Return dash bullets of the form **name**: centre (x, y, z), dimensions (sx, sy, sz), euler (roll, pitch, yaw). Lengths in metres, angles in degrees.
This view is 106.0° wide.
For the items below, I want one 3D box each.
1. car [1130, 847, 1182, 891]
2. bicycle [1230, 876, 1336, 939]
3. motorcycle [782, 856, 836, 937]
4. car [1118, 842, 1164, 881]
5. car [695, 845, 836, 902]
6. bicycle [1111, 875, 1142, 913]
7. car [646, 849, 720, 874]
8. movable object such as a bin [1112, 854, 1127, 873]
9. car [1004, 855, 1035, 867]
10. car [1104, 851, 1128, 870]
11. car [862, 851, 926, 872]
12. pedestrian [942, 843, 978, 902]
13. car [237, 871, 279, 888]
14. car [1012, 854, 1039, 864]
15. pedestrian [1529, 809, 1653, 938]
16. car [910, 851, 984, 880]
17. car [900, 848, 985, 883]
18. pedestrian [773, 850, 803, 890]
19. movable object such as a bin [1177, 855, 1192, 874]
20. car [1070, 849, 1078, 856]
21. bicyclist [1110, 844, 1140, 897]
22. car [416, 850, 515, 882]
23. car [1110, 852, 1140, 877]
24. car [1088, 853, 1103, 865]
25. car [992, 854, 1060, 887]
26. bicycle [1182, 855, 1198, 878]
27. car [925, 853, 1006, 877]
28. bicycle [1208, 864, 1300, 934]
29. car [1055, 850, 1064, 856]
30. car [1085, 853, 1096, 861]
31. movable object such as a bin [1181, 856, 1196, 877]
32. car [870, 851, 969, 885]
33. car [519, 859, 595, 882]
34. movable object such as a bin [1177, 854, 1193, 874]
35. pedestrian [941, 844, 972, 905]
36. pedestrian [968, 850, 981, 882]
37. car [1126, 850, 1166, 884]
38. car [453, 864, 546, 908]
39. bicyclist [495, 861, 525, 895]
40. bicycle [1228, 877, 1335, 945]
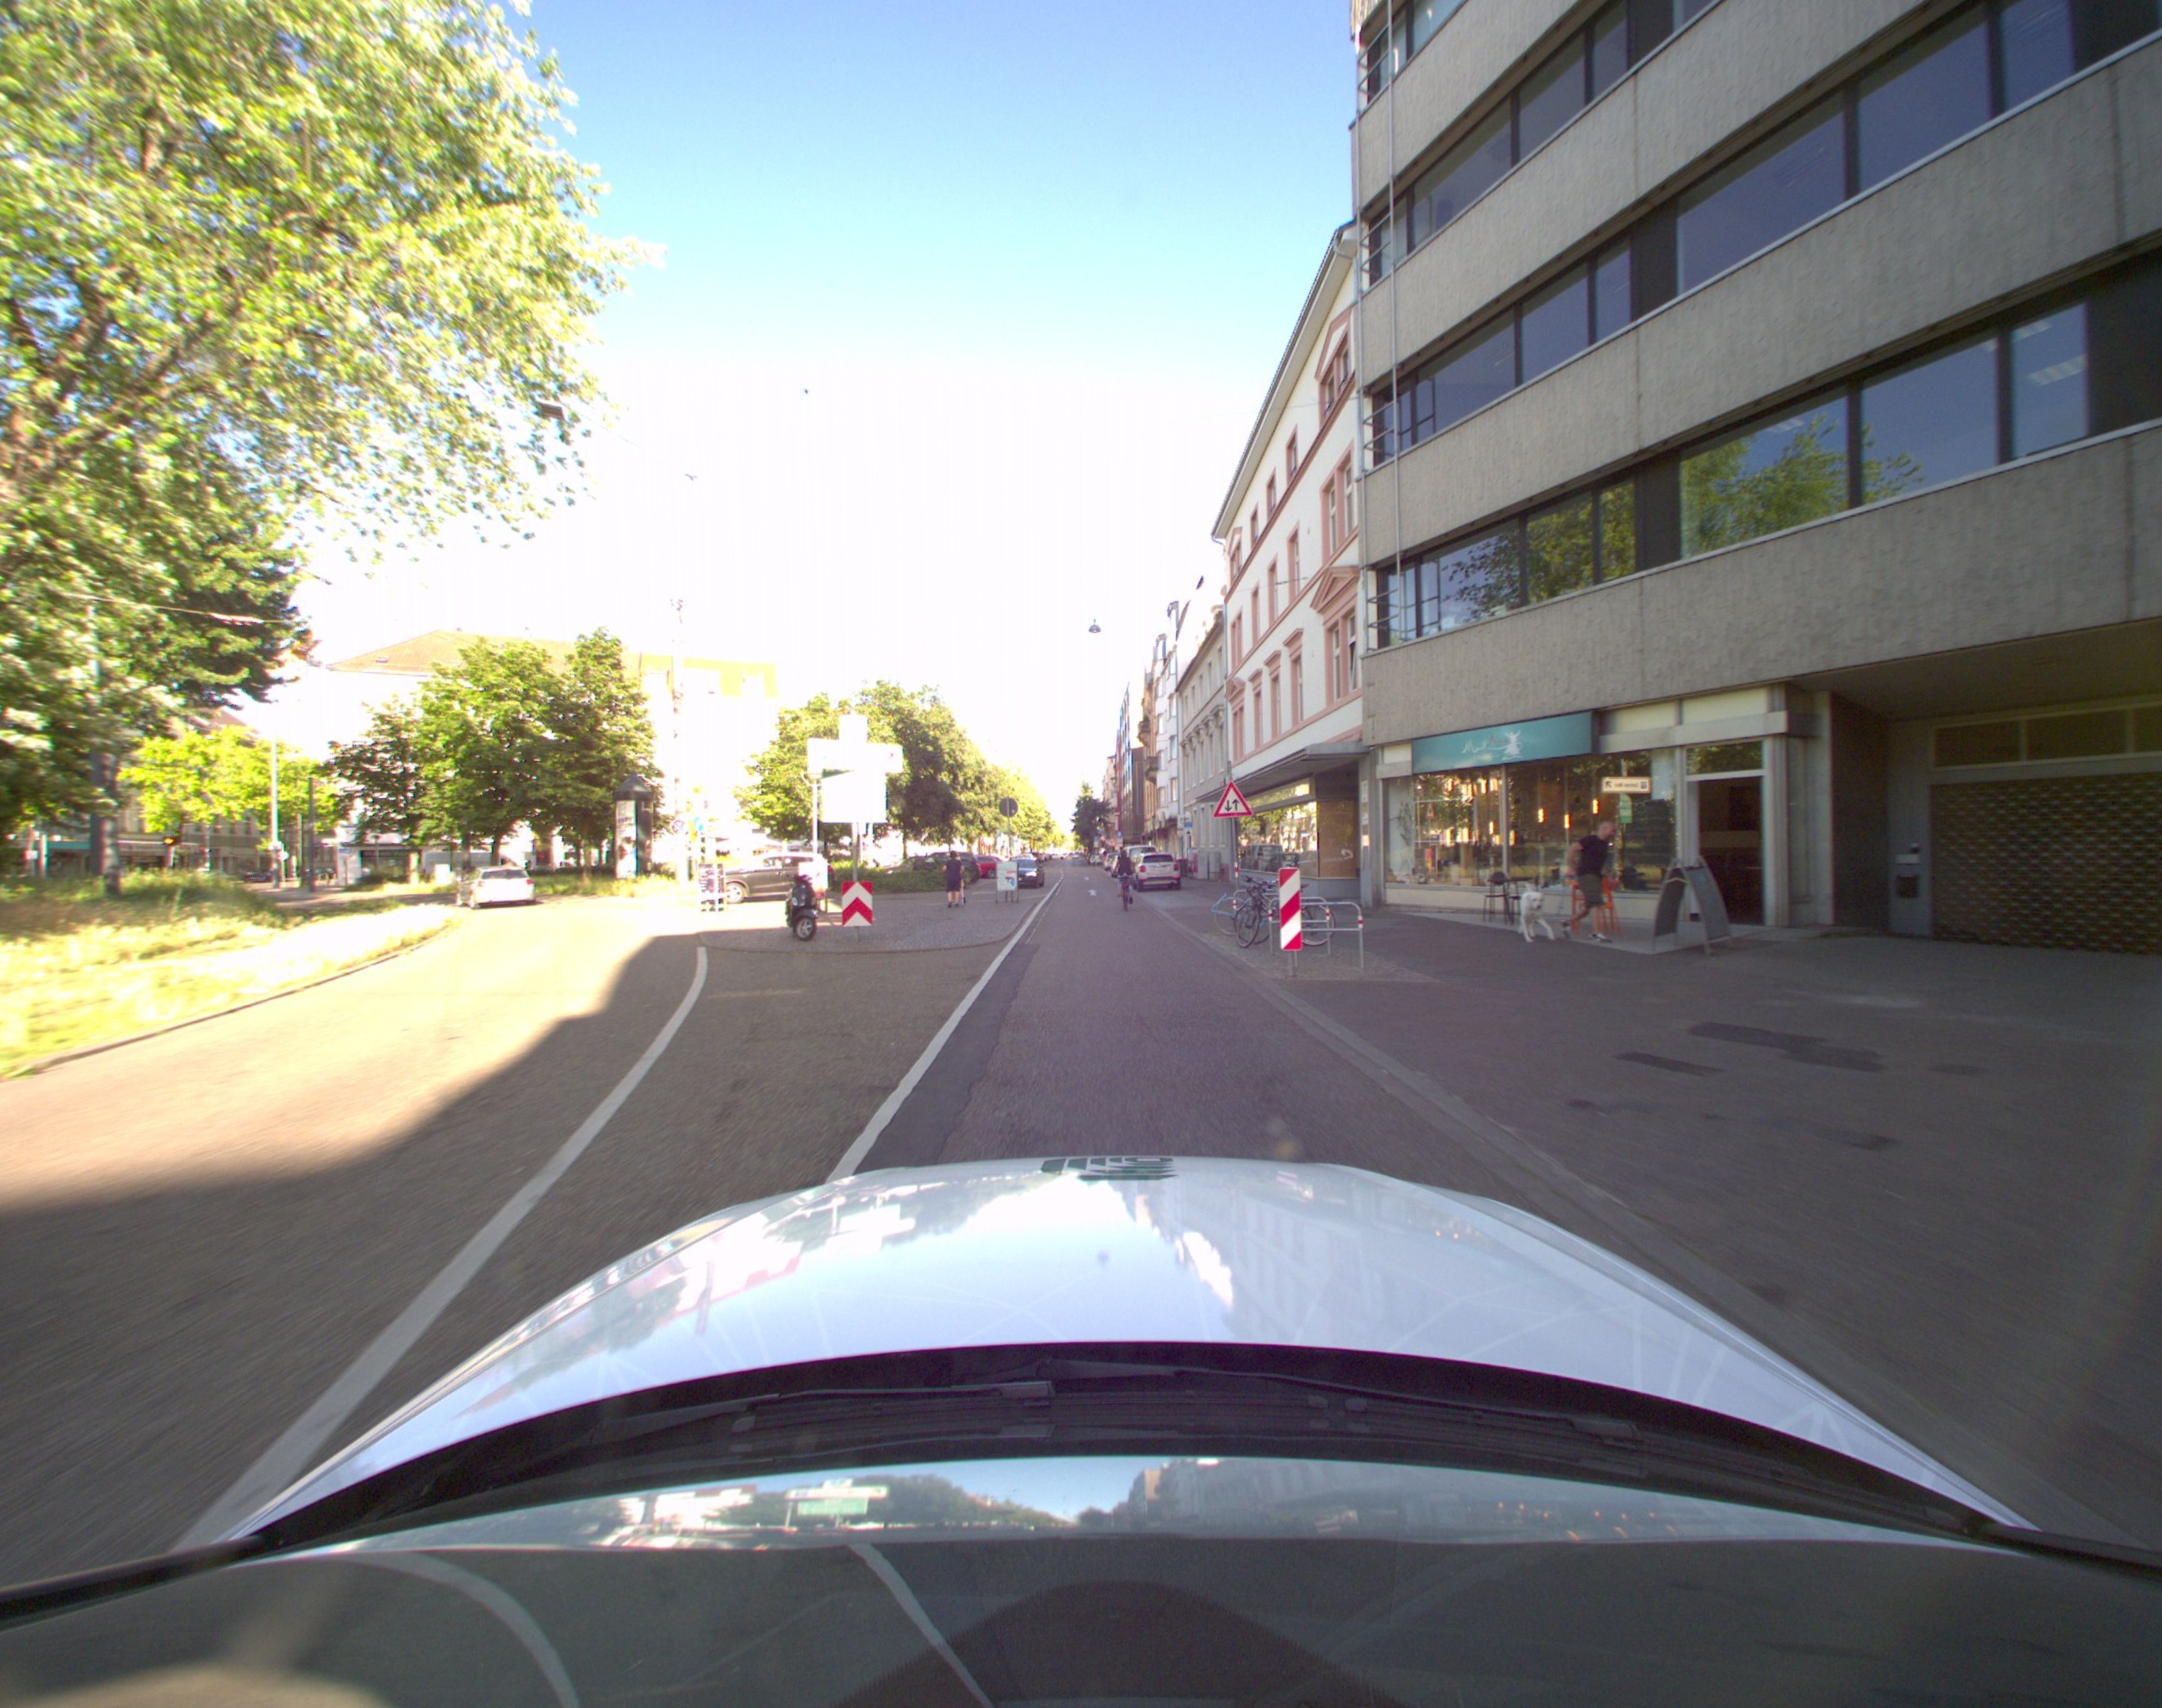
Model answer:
- **car**: centre (3.132, 0.644, 34.868), dimensions (1.740, 1.739, 4.958), euler (0, -1, -1)
- **bicycle**: centre (3.380, 0.885, 13.641), dimensions (1.691, 1.004, 0.429), euler (0, -1, 15)
- **motorcycle**: centre (-4.953, 0.741, 14.770), dimensions (0.749, 1.374, 1.747), euler (1, -1, -24)
- **car**: centre (3.218, 0.397, 44.955), dimensions (1.988, 2.005, 5.113), euler (-1, 0, -2)
- **car**: centre (-10.147, 0.597, 26.307), dimensions (3.889, 1.682, 1.791), euler (-1, -1, -38)
- **bicycle**: centre (1.241, 1.080, 22.733), dimensions (0.650, 0.958, 2.696), euler (0, -1, -1)
- **car**: centre (-34.340, 0.670, 70.345), dimensions (5.606, 2.014, 1.802), euler (1, -1, -27)
- **movable object such as a bin**: centre (3.083, 0.736, 65.028), dimensions (1.068, 1.457, 1.494), euler (-4, 1, 4)
- **car**: centre (-8.219, 0.946, 109.349), dimensions (3.974, 1.508, 2.000), euler (0, -1, 0)
- **car**: centre (3.213, 0.611, 75.664), dimensions (1.893, 1.675, 4.822), euler (0, -1, -1)
- **car**: centre (-16.801, 0.659, 73.270), dimensions (5.292, 1.800, 2.144), euler (1, -1, -27)
- **pedestrian**: centre (-3.582, 0.552, 24.102), dimensions (0.795, 1.699, 0.674), euler (-1, -1, 30)
- **car**: centre (-89.615, 2.767, 88.718), dimensions (2.004, 1.783, 3.965), euler (1, 0, -27)
- **car**: centre (-8.541, 0.717, 125.155), dimensions (3.974, 1.508, 1.894), euler (0, -1, 0)
- **pedestrian**: centre (7.200, 0.272, 11.563), dimensions (1.128, 1.743, 1.023), euler (0, -1, 2)
- **car**: centre (-7.581, 0.636, 46.466), dimensions (3.979, 1.598, 1.747), euler (0, -1, -4)
- **car**: centre (-6.944, 0.570, 40.800), dimensions (3.996, 1.668, 1.989), euler (1, 0, -17)
- **pedestrian**: centre (-11.430, 0.628, 31.761), dimensions (0.774, 1.522, 0.947), euler (2, -2, -42)
- **movable object such as a bin**: centre (6.079, 0.620, 47.861), dimensions (0.835, 1.137, 0.699), euler (-1, -1, 2)
- **car**: centre (-1.777, -0.332, 205.307), dimensions (1.864, 1.556, 3.999), euler (0, -1, 0)
- **bicyclist**: centre (1.230, 0.456, 22.922), dimensions (0.784, 1.453, 1.095), euler (0, -1, -1)
- **car**: centre (-44.994, 0.896, 59.698), dimensions (5.360, 2.314, 1.984), euler (1, -1, -24)
- **car**: centre (2.881, 0.703, 54.271), dimensions (1.713, 1.515, 3.581), euler (-3, -1, -1)
- **car**: centre (2.082, 0.739, 116.818), dimensions (1.986, 1.618, 4.011), euler (1, -1, 2)
- **car**: centre (-2.479, 0.775, 38.226), dimensions (1.898, 1.417, 4.826), euler (0, -1, 12)
- **bicycle**: centre (5.894, 0.662, 43.825), dimensions (0.479, 1.186, 1.727), euler (-3, -2, 18)
- **car**: centre (-7.397, 0.723, 52.142), dimensions (4.857, 1.488, 1.751), euler (1, -1, -24)
- **bicycle**: centre (3.218, 0.822, 15.132), dimensions (1.608, 1.243, 0.662), euler (0, -1, 19)
- **car**: centre (-5.434, -0.259, 204.384), dimensions (1.987, 1.556, 3.999), euler (0, -1, 0)
- **car**: centre (1.685, 0.605, 149.105), dimensions (1.988, 1.453, 3.998), euler (0, 0, -1)
- **movable object such as a bin**: centre (6.050, 0.684, 45.879), dimensions (0.765, 1.161, 0.579), euler (0, -1, 2)
- **car**: centre (-7.305, 0.626, 36.959), dimensions (4.017, 1.470, 1.854), euler (1, -1, -35)
- **car**: centre (-42.626, 1.322, 66.341), dimensions (4.876, 1.804, 1.895), euler (1, -1, -23)
- **movable object such as a bin**: centre (6.039, 0.586, 47.156), dimensions (0.792, 1.076, 0.660), euler (-4, -1, 1)
- **pedestrian**: centre (-3.494, 0.568, 22.820), dimensions (0.640, 1.672, 0.686), euler (1, -1, -30)
- **pedestrian**: centre (-5.610, 0.644, 42.949), dimensions (0.698, 1.649, 0.644), euler (1, -1, -7)
- **car**: centre (3.150, 0.640, 40.185), dimensions (1.694, 1.604, 3.756), euler (-1, -1, 0)
- **car**: centre (-20.353, 1.065, 28.445), dimensions (2.011, 1.423, 4.145), euler (1, -1, -44)
- **bicyclist**: centre (-25.955, 1.077, 37.029), dimensions (0.815, 1.507, 0.937), euler (-1, -2, 41)
- **bicycle**: centre (3.265, 0.909, 13.272), dimensions (1.667, 1.062, 0.345), euler (0, -1, 15)
